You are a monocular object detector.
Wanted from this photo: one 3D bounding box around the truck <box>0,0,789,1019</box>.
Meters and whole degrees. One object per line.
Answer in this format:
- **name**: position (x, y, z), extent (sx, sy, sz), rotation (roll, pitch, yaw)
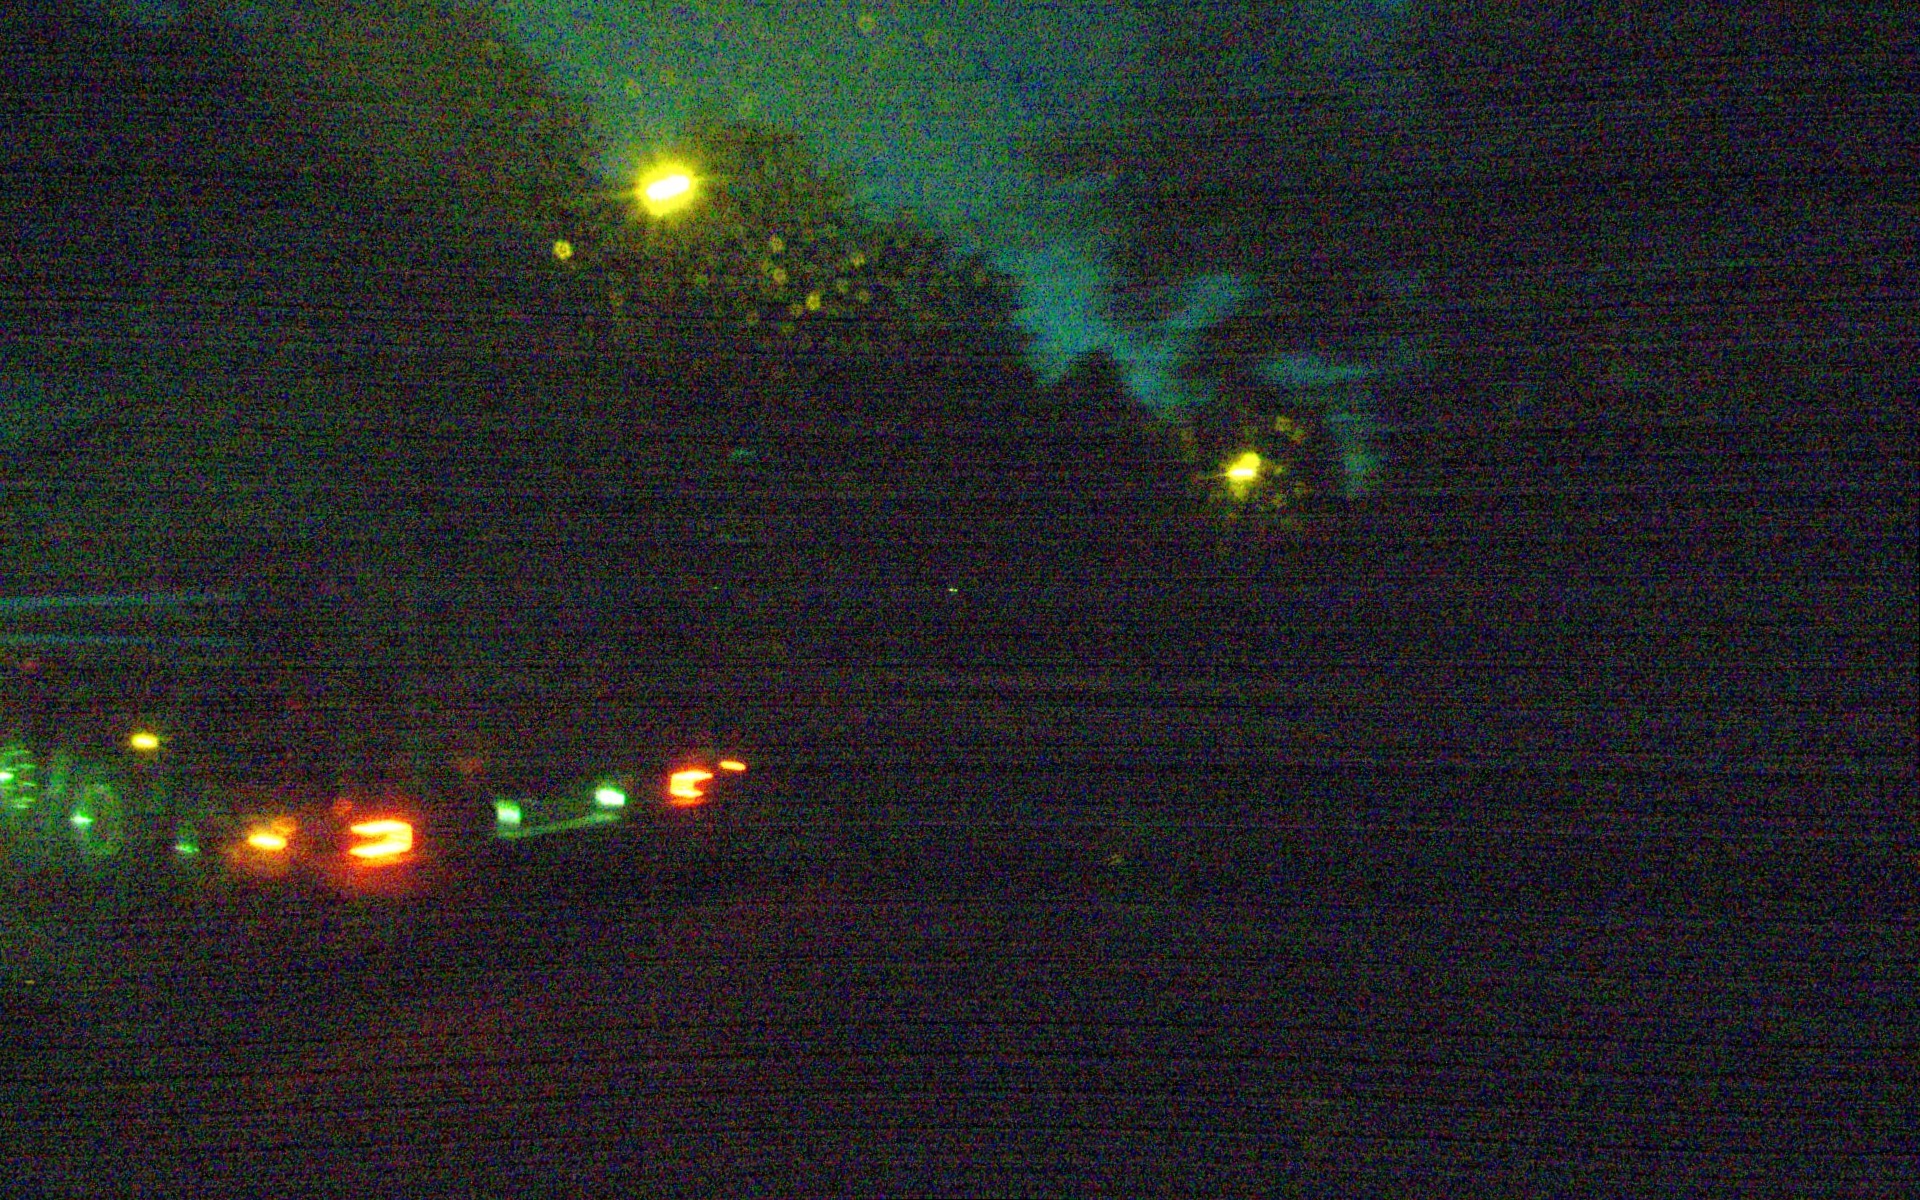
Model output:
- **truck**: position (-7.166, -0.384, 8.392), extent (12.956, 4.159, 2.682), rotation (-1, -1, 33)
